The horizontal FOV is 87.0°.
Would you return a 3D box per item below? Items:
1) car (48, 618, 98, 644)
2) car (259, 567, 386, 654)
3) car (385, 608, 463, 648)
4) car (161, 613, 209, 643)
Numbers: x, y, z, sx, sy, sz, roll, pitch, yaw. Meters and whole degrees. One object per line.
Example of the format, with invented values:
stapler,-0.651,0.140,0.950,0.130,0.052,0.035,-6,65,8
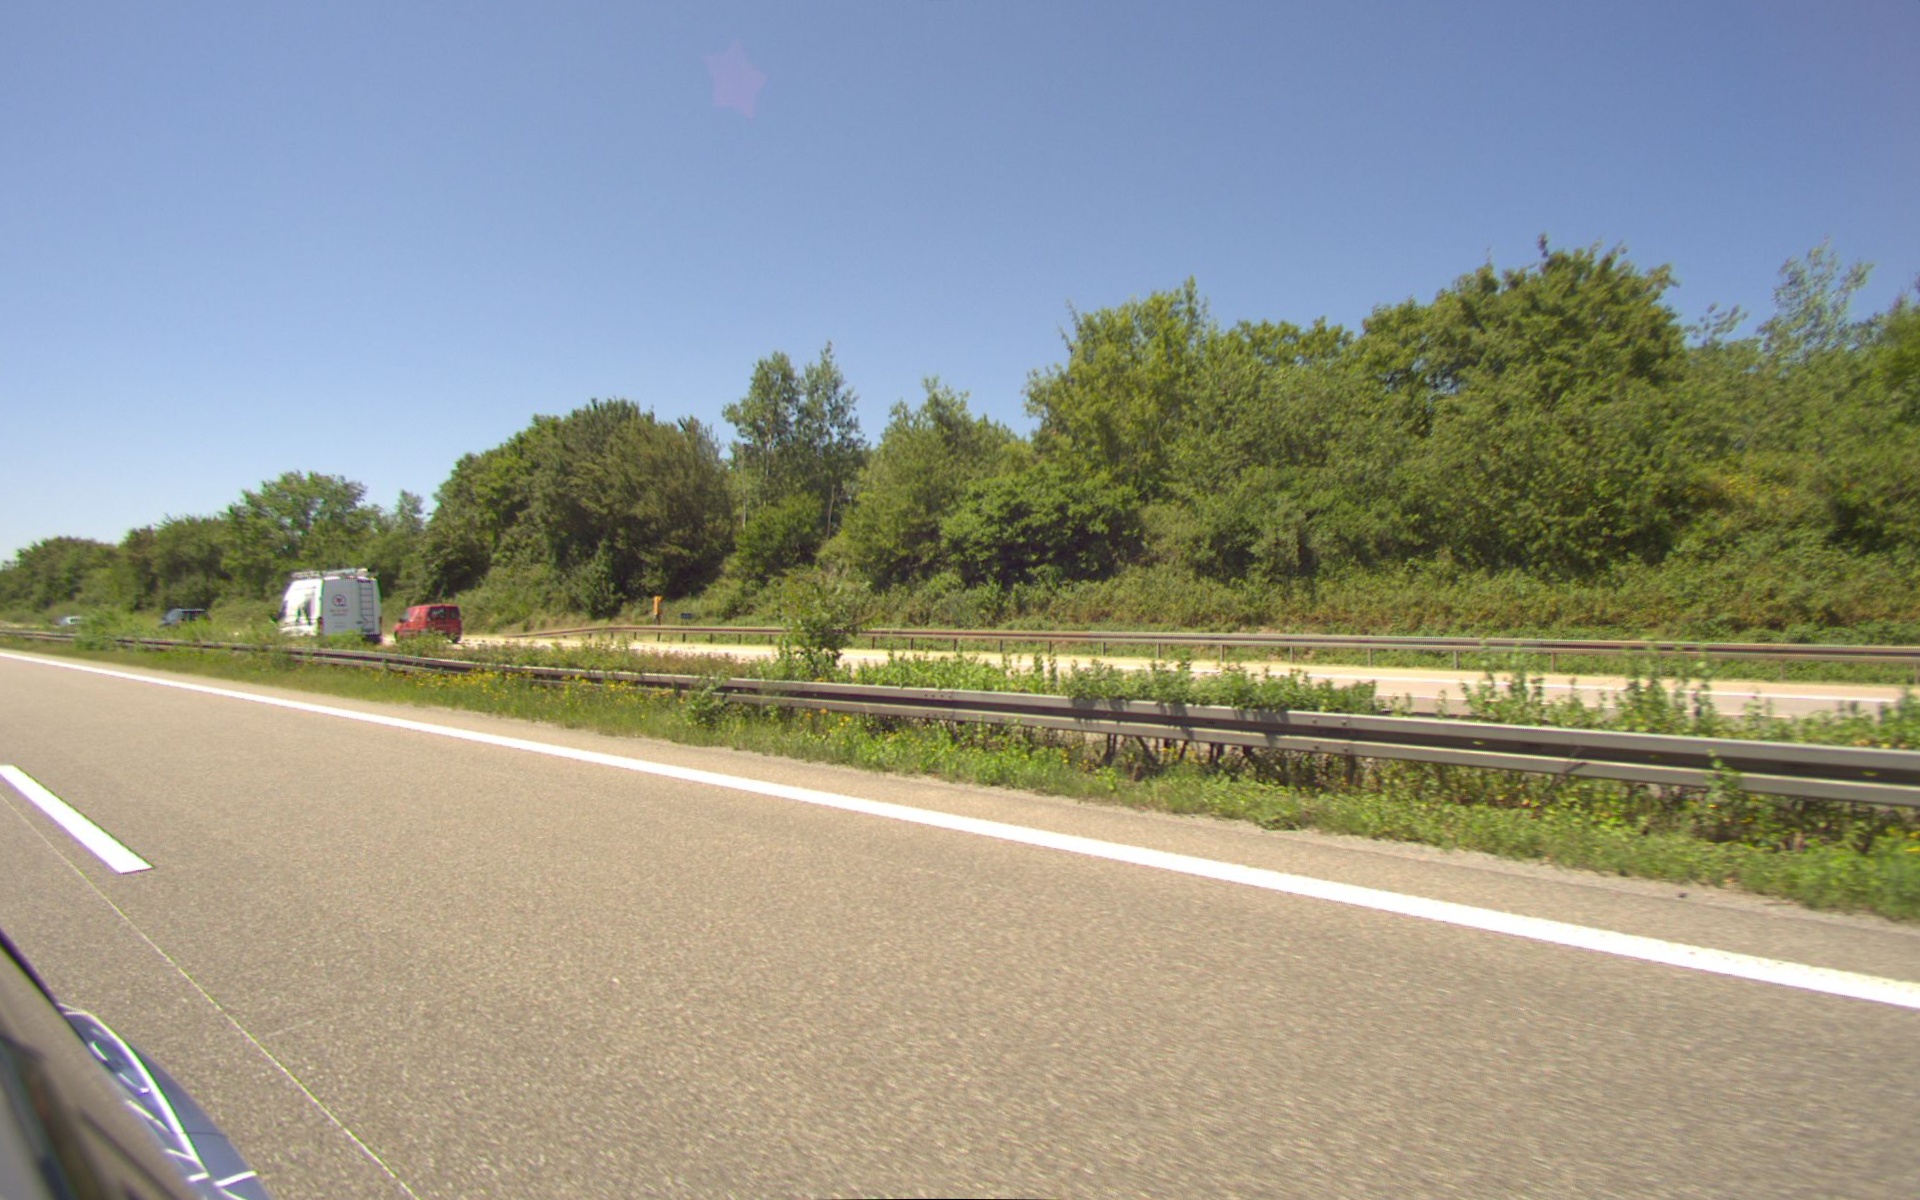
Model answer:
car,-55.271,1.910,63.055,4.390,1.525,1.745,-1,-1,40
car,-22.297,0.383,35.296,5.823,2.800,2.067,-1,-1,40
car,-25.342,1.307,47.751,4.765,1.790,1.686,-1,-1,41
car,-47.472,1.715,61.997,3.999,1.767,1.649,-1,-1,42
